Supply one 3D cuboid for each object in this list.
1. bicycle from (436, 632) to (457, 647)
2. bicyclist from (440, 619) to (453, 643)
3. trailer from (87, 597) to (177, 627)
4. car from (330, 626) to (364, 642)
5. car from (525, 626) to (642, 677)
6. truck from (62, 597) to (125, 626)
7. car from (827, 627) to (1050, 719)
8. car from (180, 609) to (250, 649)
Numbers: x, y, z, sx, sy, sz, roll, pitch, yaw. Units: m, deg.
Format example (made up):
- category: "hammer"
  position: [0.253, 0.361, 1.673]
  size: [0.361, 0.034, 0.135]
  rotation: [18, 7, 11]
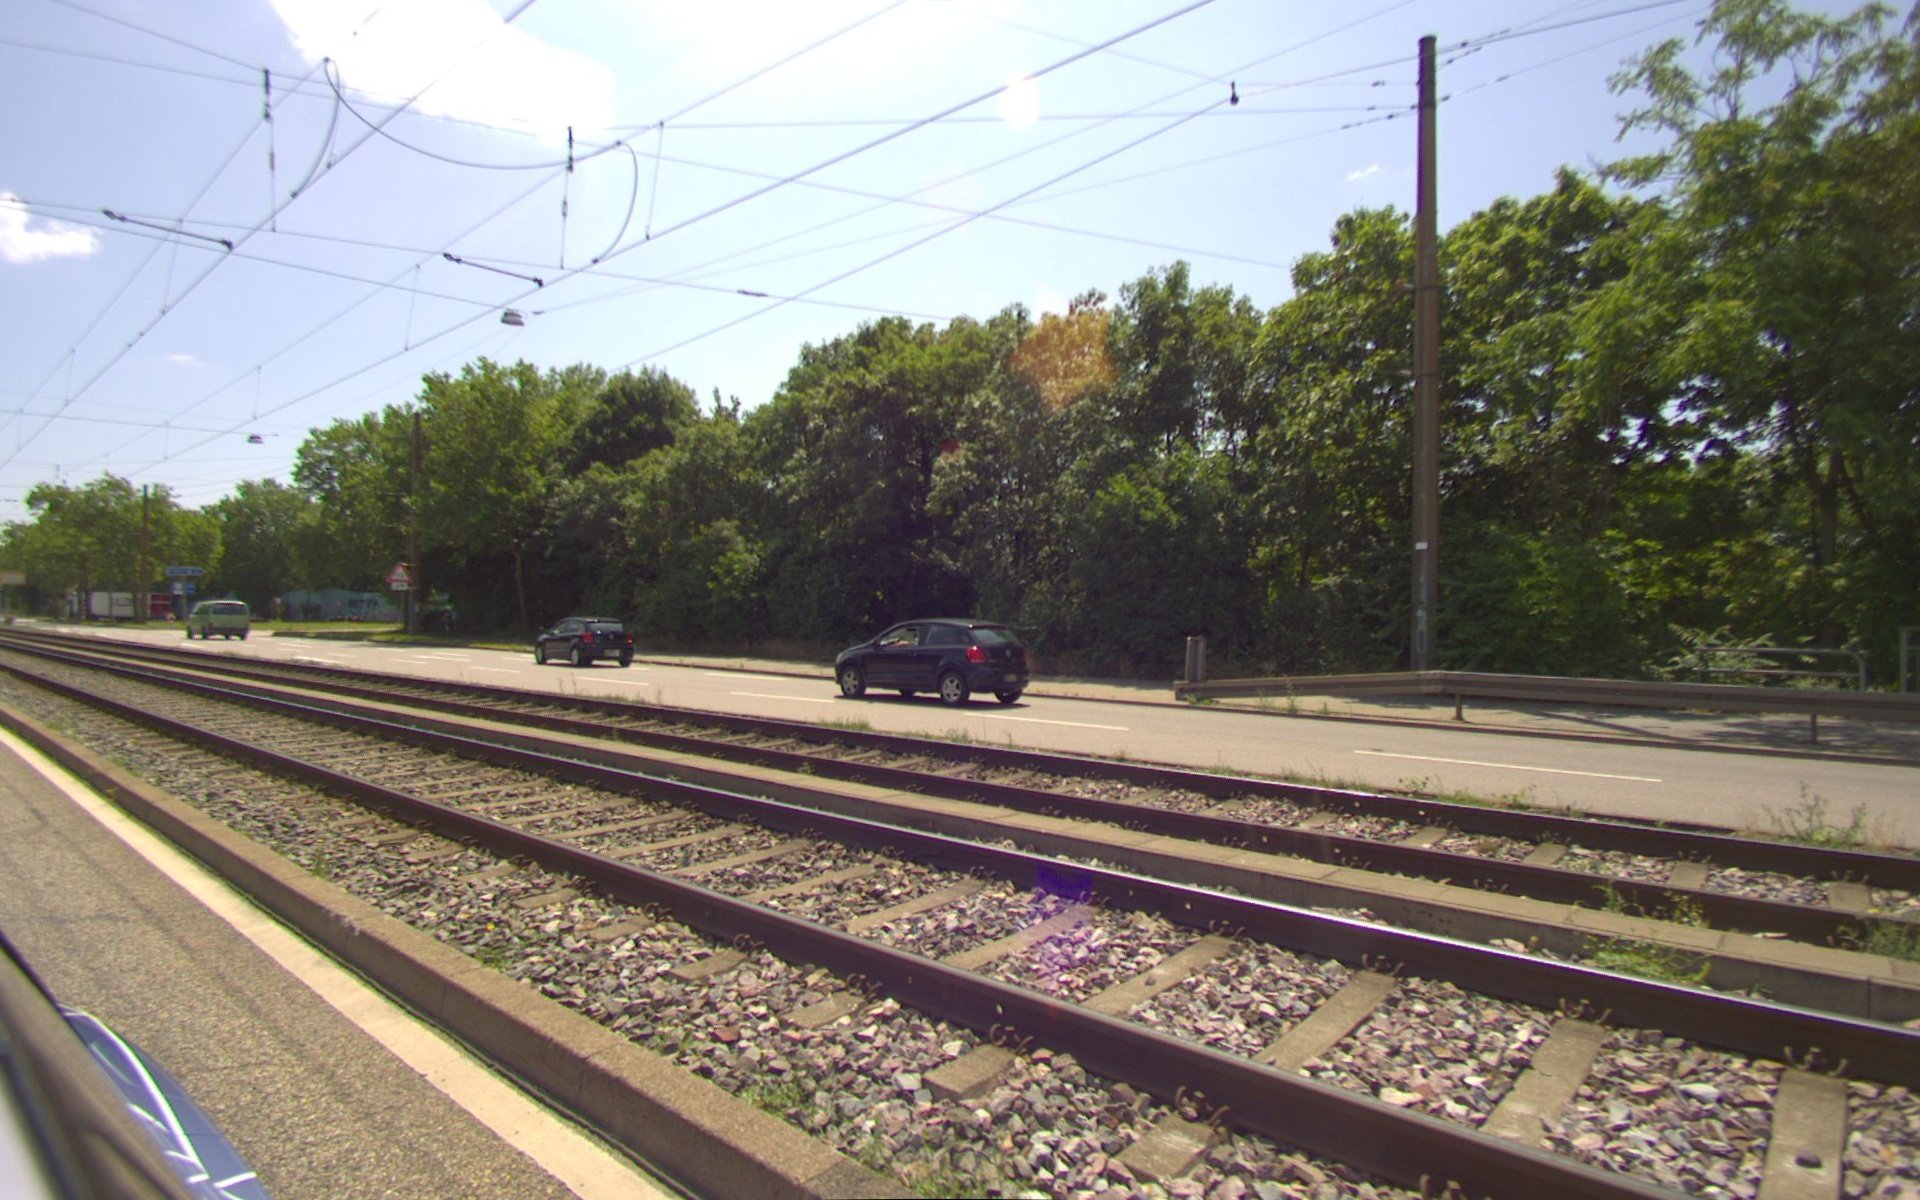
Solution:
- category: "bicycle"
  position: [-31.001, 2.360, 61.081]
  size: [0.579, 0.825, 2.070]
  rotation: [-1, 1, -43]
- category: "bicyclist"
  position: [-30.979, 1.868, 61.049]
  size: [0.562, 1.378, 0.632]
  rotation: [-1, 1, -43]
- category: "trailer"
  position: [-106.569, 1.569, 130.244]
  size: [12.018, 3.683, 3.366]
  rotation: [-1, -2, 20]
- category: "car"
  position: [-71.818, 3.948, 118.611]
  size: [3.368, 1.805, 1.557]
  rotation: [0, -2, 16]
- category: "car"
  position: [-11.040, 1.464, 29.588]
  size: [3.928, 1.357, 1.546]
  rotation: [-1, -2, 42]
- category: "truck"
  position: [-113.734, 1.590, 132.820]
  size: [6.709, 3.730, 3.396]
  rotation: [-1, -2, 20]
- category: "car"
  position: [-0.455, 1.197, 17.843]
  size: [3.936, 1.411, 1.557]
  rotation: [-1, -2, 41]
- category: "car"
  position: [-37.688, 1.454, 51.150]
  size: [5.177, 1.940, 1.792]
  rotation: [-1, -2, 42]
